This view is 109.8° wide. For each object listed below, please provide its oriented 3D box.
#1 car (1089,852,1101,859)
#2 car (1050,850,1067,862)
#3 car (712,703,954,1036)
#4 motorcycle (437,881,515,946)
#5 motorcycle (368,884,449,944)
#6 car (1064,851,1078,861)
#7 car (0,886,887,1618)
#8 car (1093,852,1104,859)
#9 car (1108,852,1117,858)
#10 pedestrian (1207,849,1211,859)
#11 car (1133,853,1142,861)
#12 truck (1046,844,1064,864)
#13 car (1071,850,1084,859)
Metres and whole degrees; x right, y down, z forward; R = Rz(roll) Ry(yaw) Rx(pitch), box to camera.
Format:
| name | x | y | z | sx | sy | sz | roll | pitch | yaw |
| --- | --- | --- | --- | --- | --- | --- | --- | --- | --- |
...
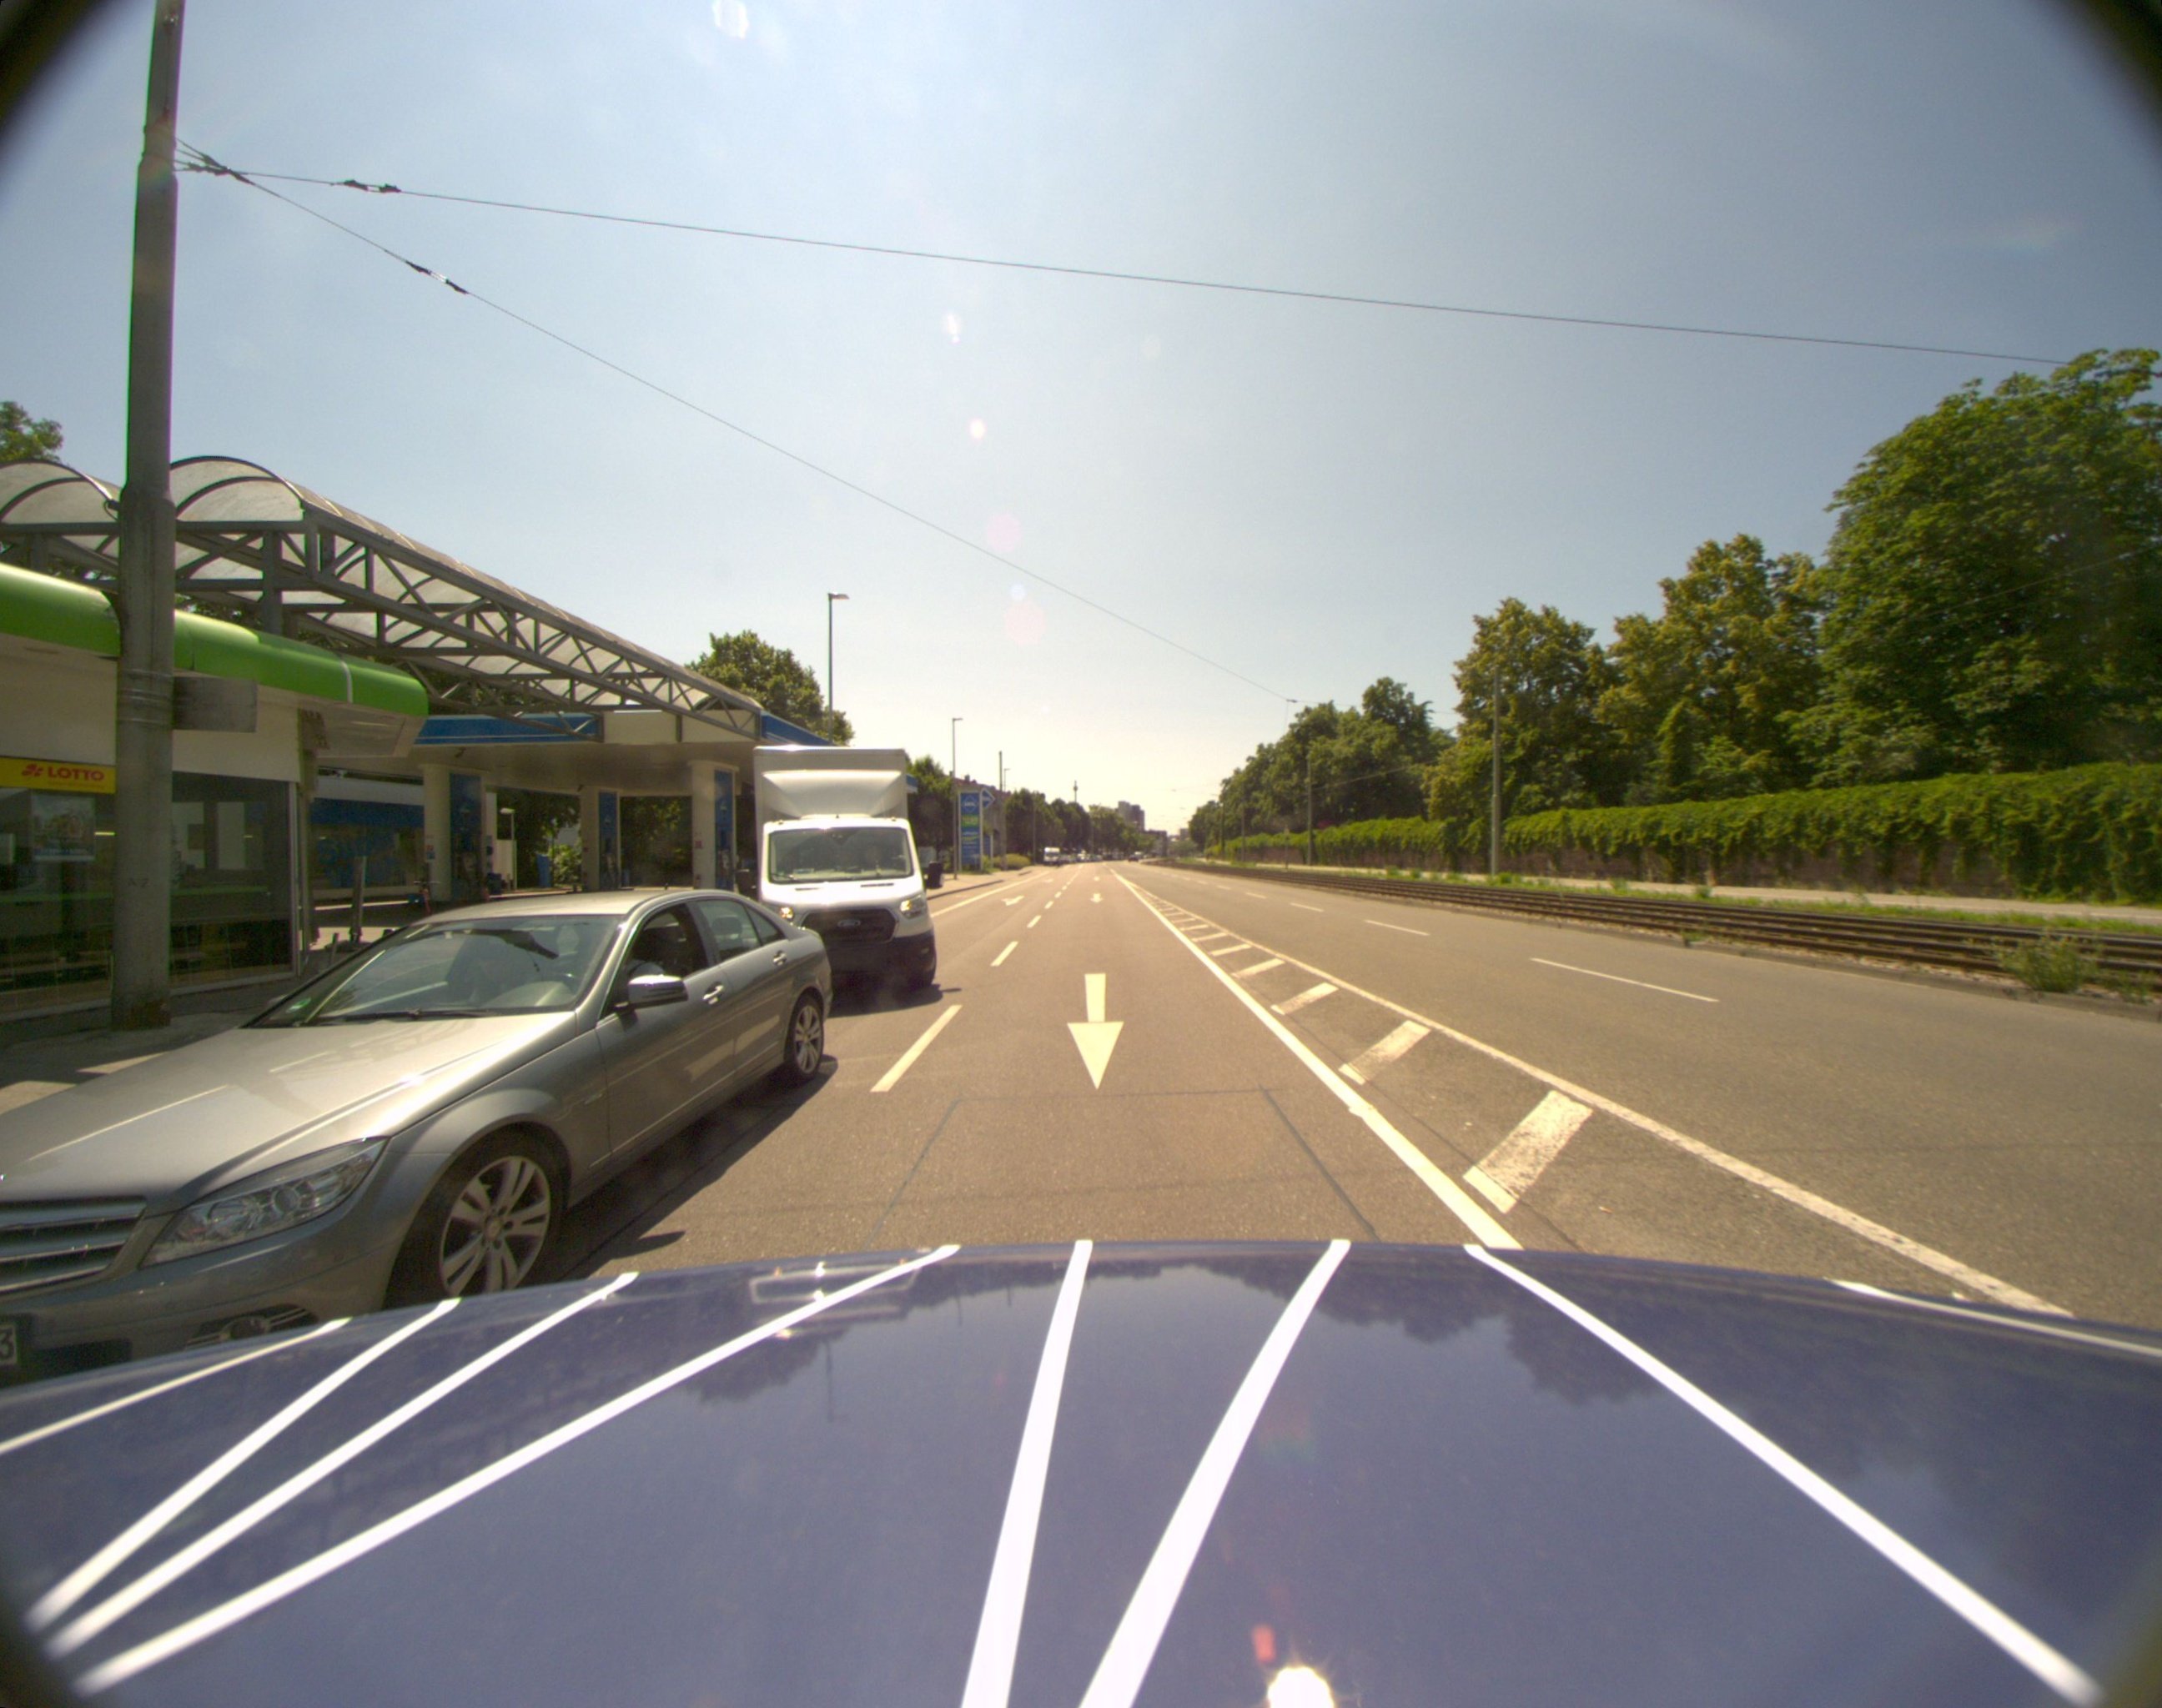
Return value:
| name | x | y | z | sx | sy | sz | roll | pitch | yaw |
| --- | --- | --- | --- | --- | --- | --- | --- | --- | --- |
| car | 3.166 | 0.395 | 171.959 | 1.911 | 1.488 | 4.002 | -2 | 1 | 10 |
| car | -3.240 | 0.281 | 110.202 | 1.912 | 1.488 | 4.001 | -2 | 1 | 4 |
| car | -3.911 | 0.137 | 12.009 | 2.232 | 3.316 | 8.622 | -3 | 1 | -19 |
| motorcycle | -11.597 | 1.131 | 14.572 | 1.157 | 1.203 | 0.364 | 1 | -1 | -1 |
| motorcycle | -12.843 | 1.144 | 14.531 | 1.157 | 1.107 | 0.396 | 1 | -1 | -1 |
| car | -1.658 | 0.286 | 126.597 | 1.912 | 1.488 | 4.001 | -2 | 1 | 4 |
| car | -2.787 | 1.056 | 4.409 | 1.717 | 1.464 | 5.302 | -3 | 0 | 2 |
| car | 4.046 | 0.305 | 177.010 | 1.911 | 1.488 | 4.002 | -2 | 1 | 10 |
| car | 8.349 | 0.342 | 203.135 | 1.911 | 1.488 | 4.002 | -2 | 1 | 10 |
| pedestrian | 21.488 | 0.026 | 127.530 | 0.453 | 1.655 | 0.302 | -2 | 0 | 1 |
| car | 11.146 | 0.547 | 150.306 | 1.801 | 1.488 | 3.964 | -2 | 0 | 3 |
| truck | -3.446 | -0.018 | 101.528 | 1.998 | 2.462 | 5.237 | -2 | 1 | 1 |
| car | -0.652 | 0.100 | 138.871 | 1.912 | 1.488 | 4.001 | -2 | 1 | 4 |
